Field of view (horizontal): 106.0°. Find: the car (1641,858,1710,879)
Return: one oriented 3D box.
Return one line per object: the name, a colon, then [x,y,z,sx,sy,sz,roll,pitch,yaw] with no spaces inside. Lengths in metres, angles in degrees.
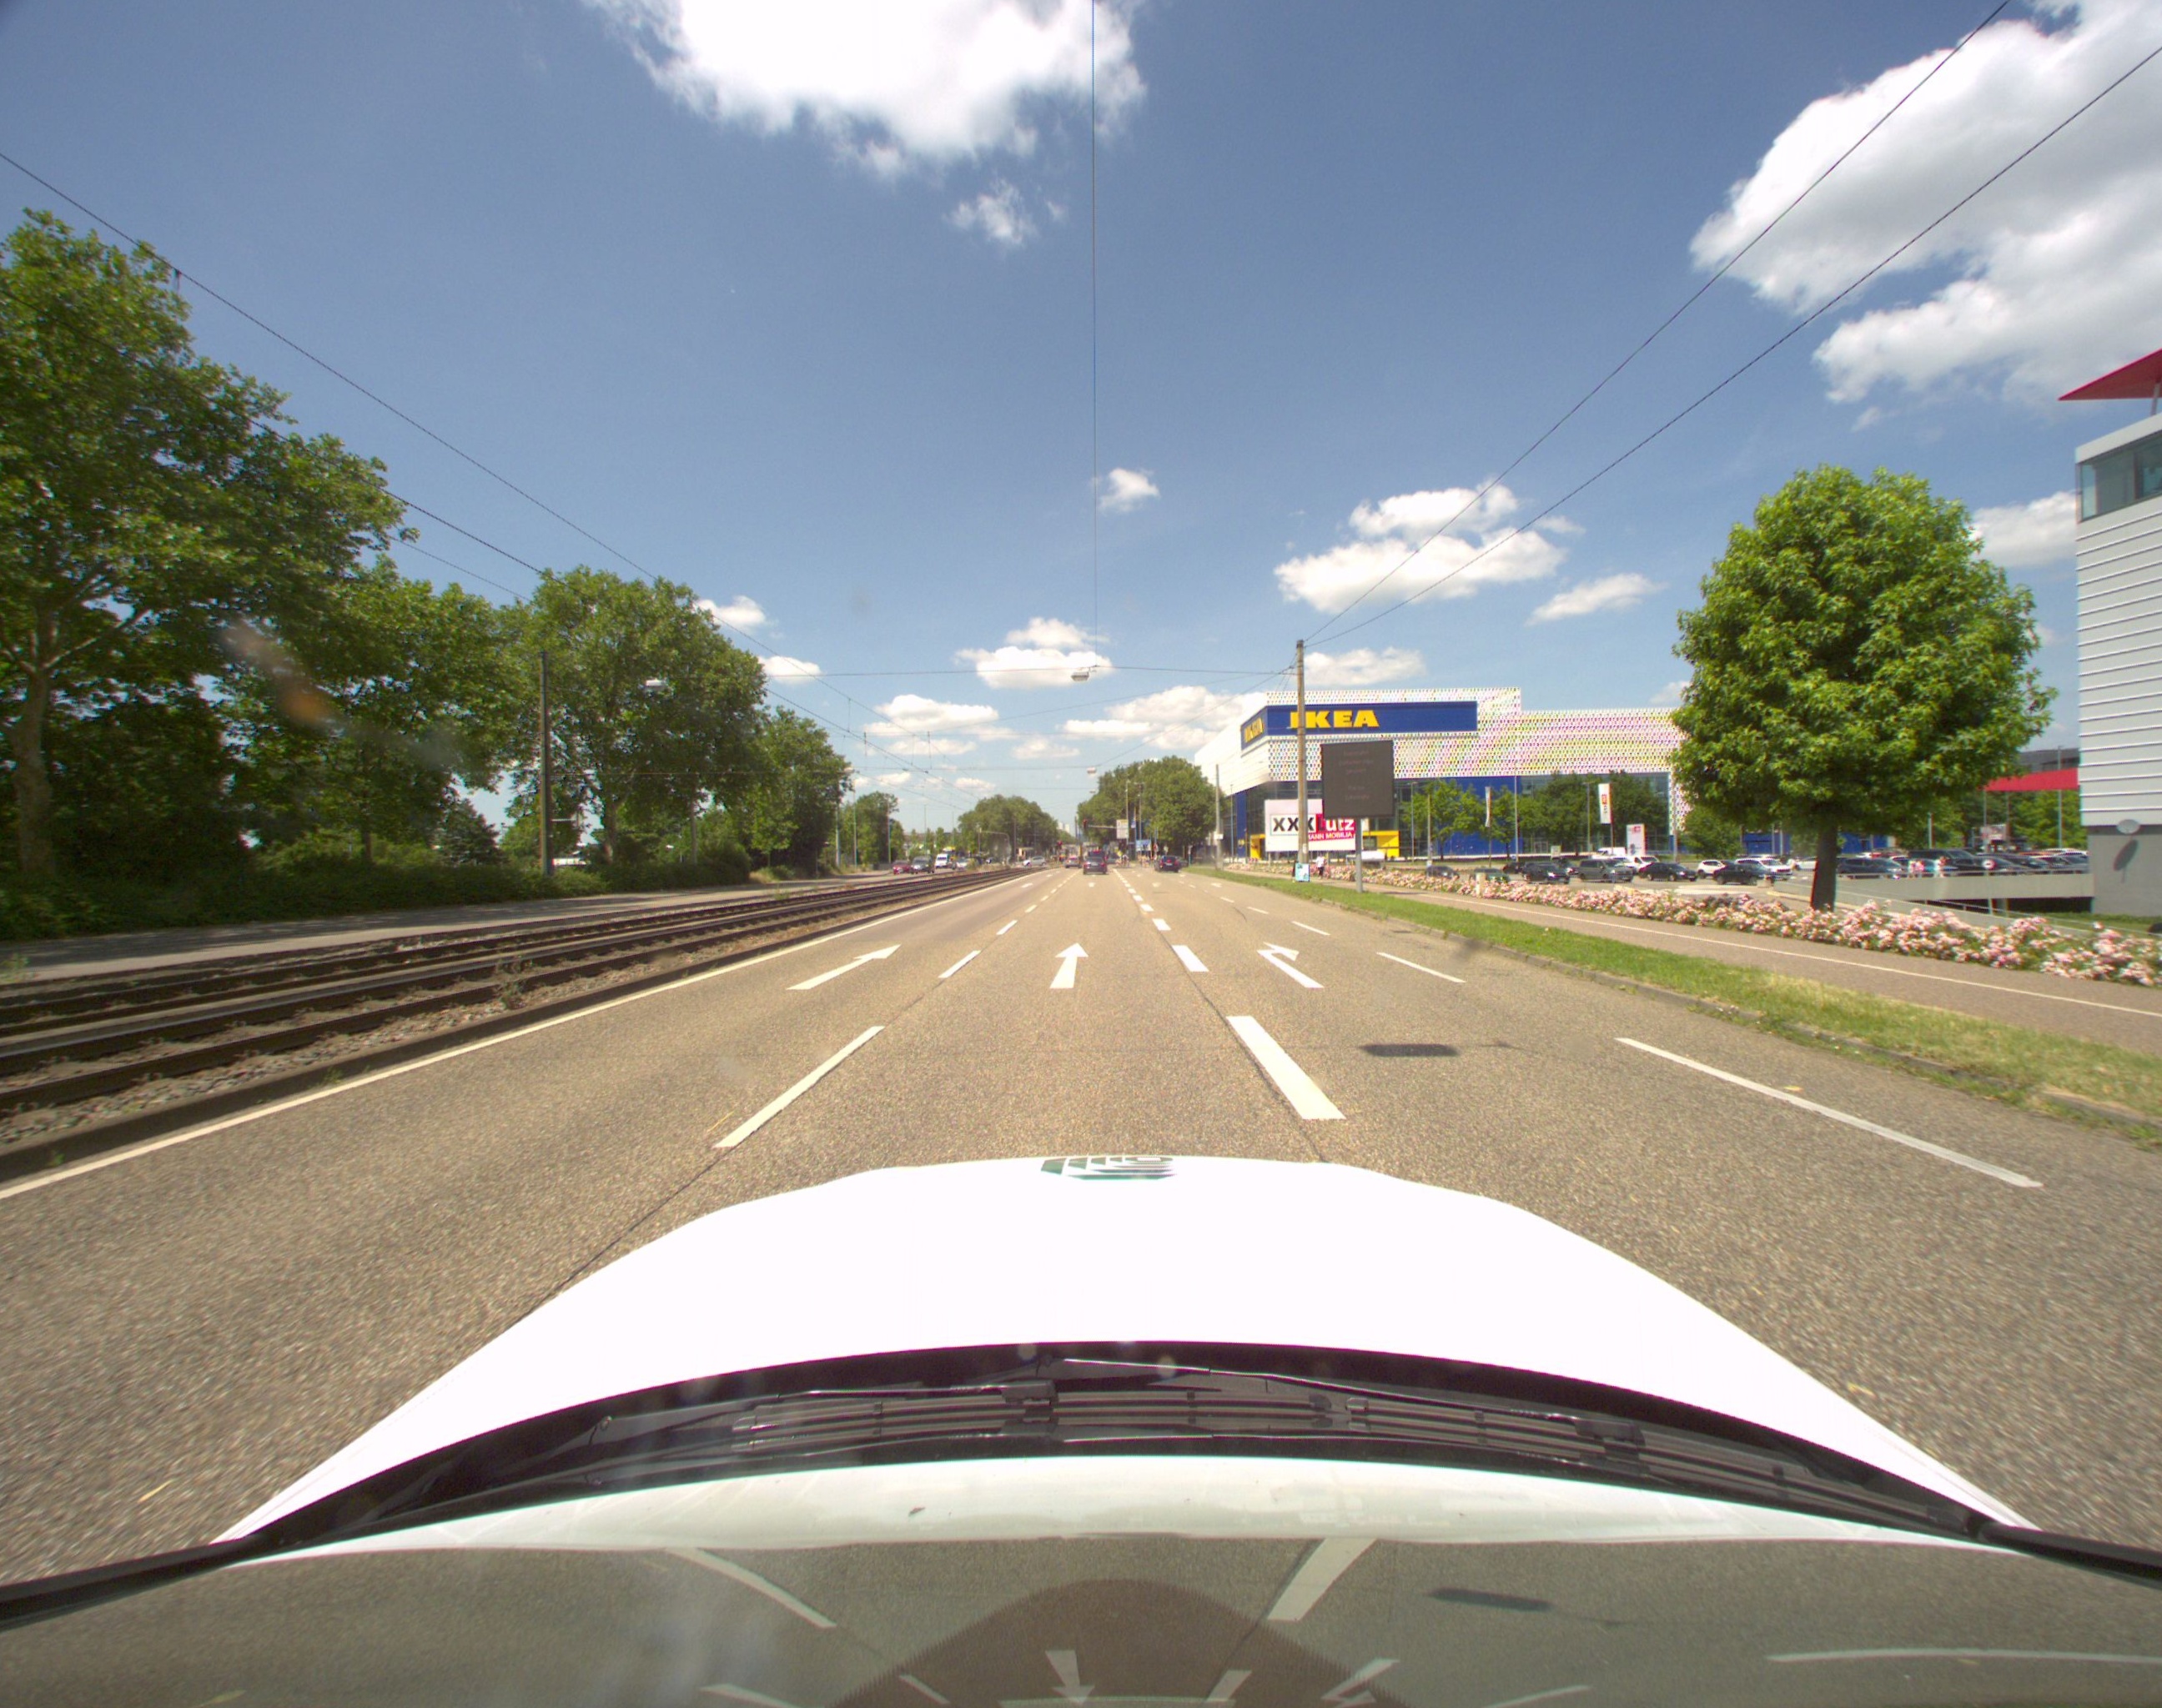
car: [47.597,1.141,65.305,1.986,1.610,5.002,0,0,1]

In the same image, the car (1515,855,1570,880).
car: [40.374,1.169,71.382,1.986,2.013,5.002,-2,0,1]

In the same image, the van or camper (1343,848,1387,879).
van or camper: [29.128,0.906,83.790,2.495,3.020,7.233,0,0,5]

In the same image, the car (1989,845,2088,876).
car: [64.392,0.441,54.861,1.987,2.013,4.000,0,0,1]

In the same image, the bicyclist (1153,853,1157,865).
bicyclist: [11.197,0.751,123.478,0.525,1.764,0.830,0,-1,14]

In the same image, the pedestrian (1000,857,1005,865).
pedestrian: [-13.063,1.150,135.685,0.683,1.443,0.572,0,-1,-3]

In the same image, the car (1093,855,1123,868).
car: [4.317,1.194,130.216,4.410,1.918,1.987,1,0,-20]

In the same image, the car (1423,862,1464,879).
car: [35.925,1.629,80.888,1.986,1.537,4.770,-2,0,1]

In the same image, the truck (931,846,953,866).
truck: [-24.442,0.359,143.385,2.757,3.569,6.440,0,0,1]

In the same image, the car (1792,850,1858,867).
car: [72.892,0.421,79.898,1.986,1.610,5.002,0,0,1]

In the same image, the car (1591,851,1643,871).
car: [53.057,0.662,80.751,1.986,1.852,5.002,0,0,1]

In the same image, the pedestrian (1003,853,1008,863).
pedestrian: [-12.505,0.646,134.868,0.683,1.637,0.572,0,-1,-3]

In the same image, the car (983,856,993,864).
car: [-22.524,1.475,196.752,1.811,1.883,4.000,0,0,1]

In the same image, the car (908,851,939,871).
car: [-15.148,0.642,78.486,1.987,1.830,4.968,-3,0,-1]

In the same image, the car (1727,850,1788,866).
car: [70.285,0.358,84.722,1.990,1.610,4.993,0,0,-4]

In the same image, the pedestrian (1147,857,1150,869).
pedestrian: [9.288,1.175,111.544,0.443,1.635,0.430,0,0,4]

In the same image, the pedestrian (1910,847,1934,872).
pedestrian: [52.513,0.366,50.859,0.738,1.557,0.735,0,0,-1]

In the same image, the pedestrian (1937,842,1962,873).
pedestrian: [52.448,0.216,49.193,0.738,1.869,0.735,0,0,-1]

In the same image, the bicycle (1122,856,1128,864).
bicycle: [6.052,0.805,111.943,0.685,0.993,2.752,0,0,2]

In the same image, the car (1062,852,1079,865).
car: [-1.252,0.574,99.282,1.986,1.486,4.001,1,0,1]

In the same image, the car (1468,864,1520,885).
car: [33.115,1.628,65.475,1.986,1.496,4.304,-3,0,1]

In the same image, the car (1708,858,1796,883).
car: [45.778,1.121,55.748,1.986,1.610,5.002,0,0,1]

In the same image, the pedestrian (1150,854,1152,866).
pedestrian: [9.769,0.803,113.668,0.380,1.635,0.377,0,0,4]

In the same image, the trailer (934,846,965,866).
trailer: [-24.309,0.386,151.470,2.757,3.518,15.879,0,0,1]

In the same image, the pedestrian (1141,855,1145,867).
pedestrian: [8.548,0.910,111.511,0.551,1.635,0.433,0,0,4]

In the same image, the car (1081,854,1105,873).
car: [0.989,0.732,66.062,1.786,1.455,4.001,-2,0,1]

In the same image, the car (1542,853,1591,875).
car: [48.293,0.928,81.149,1.986,2.134,5.002,0,0,1]

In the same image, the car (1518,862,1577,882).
car: [37.695,1.410,65.970,1.986,1.550,5.002,0,0,1]

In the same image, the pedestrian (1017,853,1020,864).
pedestrian: [-11.503,0.906,149.871,0.683,2.014,0.572,0,-1,-3]

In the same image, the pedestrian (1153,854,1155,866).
pedestrian: [10.210,0.785,113.614,0.337,1.635,0.377,0,0,4]

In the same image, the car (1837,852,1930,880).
car: [53.560,0.758,54.457,1.986,1.781,4.334,1,0,1]

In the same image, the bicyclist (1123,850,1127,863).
bicyclist: [6.046,0.401,111.719,0.527,1.789,1.088,0,-1,2]

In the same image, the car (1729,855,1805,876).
car: [55.200,0.876,65.662,1.986,1.650,5.002,0,0,1]

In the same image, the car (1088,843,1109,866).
car: [1.620,0.017,76.122,1.830,1.950,4.001,0,1,1]

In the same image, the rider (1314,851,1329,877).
rider: [13.641,0.582,46.198,0.667,1.457,0.618,0,-1,0]

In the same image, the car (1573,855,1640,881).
car: [42.487,1.101,66.026,1.986,2.013,5.536,0,0,1]

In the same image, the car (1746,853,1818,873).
car: [59.842,0.740,69.631,1.986,1.610,5.002,0,0,1]

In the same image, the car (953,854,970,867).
car: [-15.988,0.903,109.272,1.680,1.583,4.057,-3,0,-1]

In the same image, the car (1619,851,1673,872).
car: [55.765,0.751,80.496,1.986,2.007,5.002,0,0,1]

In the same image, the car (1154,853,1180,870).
car: [7.792,0.637,74.006,1.986,1.486,4.001,1,0,1]

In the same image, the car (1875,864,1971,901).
car: [56.232,1.863,54.499,1.986,2.327,4.334,1,0,1]

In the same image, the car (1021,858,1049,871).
car: [-7.171,1.638,127.343,3.995,1.848,1.990,-3,1,-16]

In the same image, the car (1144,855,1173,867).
car: [10.139,0.896,106.271,1.974,1.486,4.417,1,0,31]

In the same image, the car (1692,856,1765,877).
car: [52.423,0.963,66.062,1.986,1.610,5.002,0,0,1]

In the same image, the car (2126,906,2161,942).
car: [45.295,2.884,32.367,1.987,1.398,4.350,0,0,-1]

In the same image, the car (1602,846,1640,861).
car: [87.004,-0.051,131.361,4.728,2.309,2.006,0,0,11]

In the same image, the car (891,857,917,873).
car: [-19.914,1.198,91.742,1.987,1.670,4.467,-3,0,-1]

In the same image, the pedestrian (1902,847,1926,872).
pedestrian: [51.495,0.346,50.337,0.738,1.557,0.735,0,0,-1]

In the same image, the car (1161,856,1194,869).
car: [11.445,1.018,96.565,1.974,1.486,4.171,1,0,38]
